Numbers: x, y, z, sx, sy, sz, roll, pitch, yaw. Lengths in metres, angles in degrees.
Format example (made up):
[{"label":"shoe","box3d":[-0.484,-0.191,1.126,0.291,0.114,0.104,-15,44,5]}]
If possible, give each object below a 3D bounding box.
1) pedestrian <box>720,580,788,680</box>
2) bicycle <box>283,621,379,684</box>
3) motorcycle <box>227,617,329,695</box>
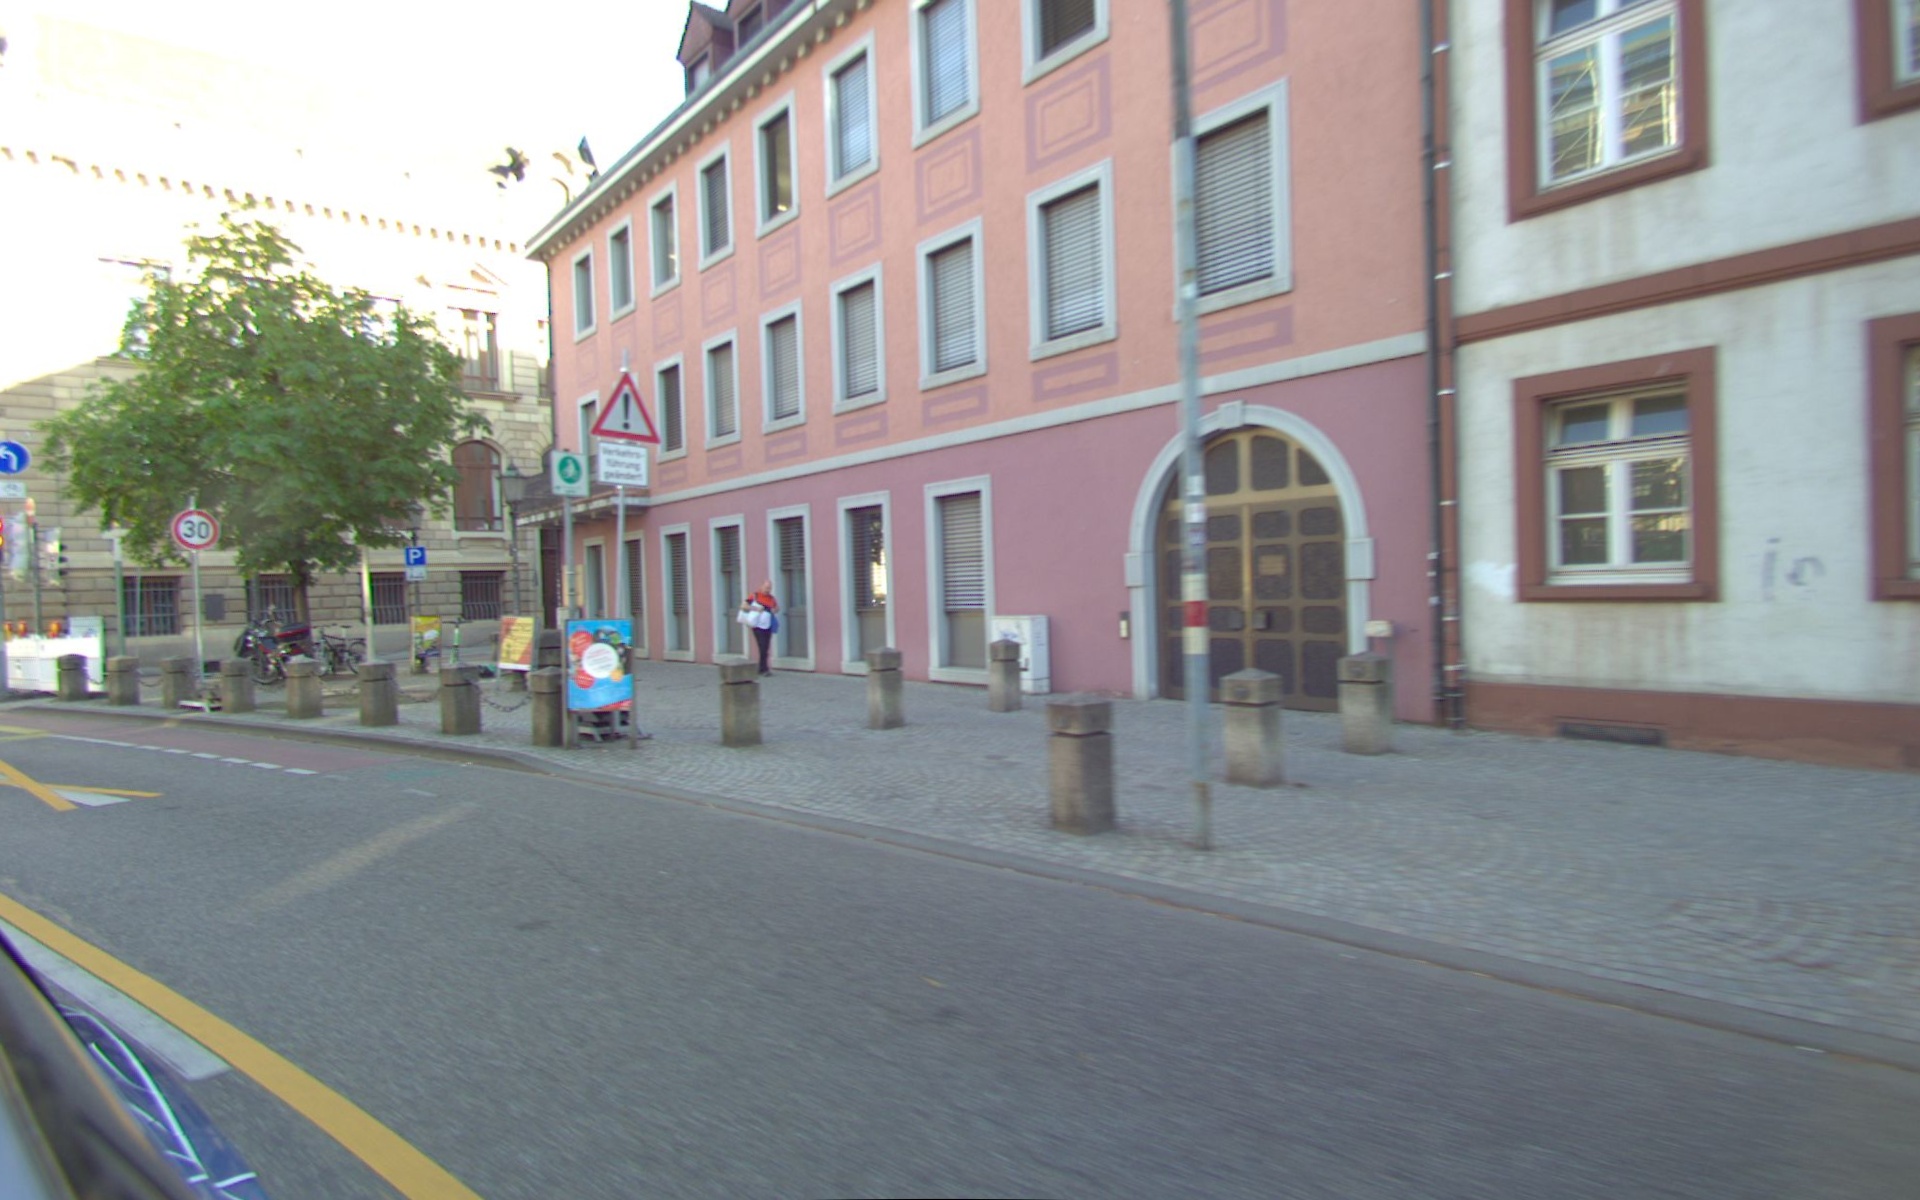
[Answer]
[{"label":"pedestrian","box3d":[-3.668,0.517,17.988,0.781,1.701,0.870,-4,2,-40]},{"label":"bicycle","box3d":[-12.968,1.049,20.941,0.674,1.215,2.003,0,-1,3]},{"label":"motorcycle","box3d":[-12.558,1.019,18.612,2.333,1.327,0.804,-2,0,37]}]
